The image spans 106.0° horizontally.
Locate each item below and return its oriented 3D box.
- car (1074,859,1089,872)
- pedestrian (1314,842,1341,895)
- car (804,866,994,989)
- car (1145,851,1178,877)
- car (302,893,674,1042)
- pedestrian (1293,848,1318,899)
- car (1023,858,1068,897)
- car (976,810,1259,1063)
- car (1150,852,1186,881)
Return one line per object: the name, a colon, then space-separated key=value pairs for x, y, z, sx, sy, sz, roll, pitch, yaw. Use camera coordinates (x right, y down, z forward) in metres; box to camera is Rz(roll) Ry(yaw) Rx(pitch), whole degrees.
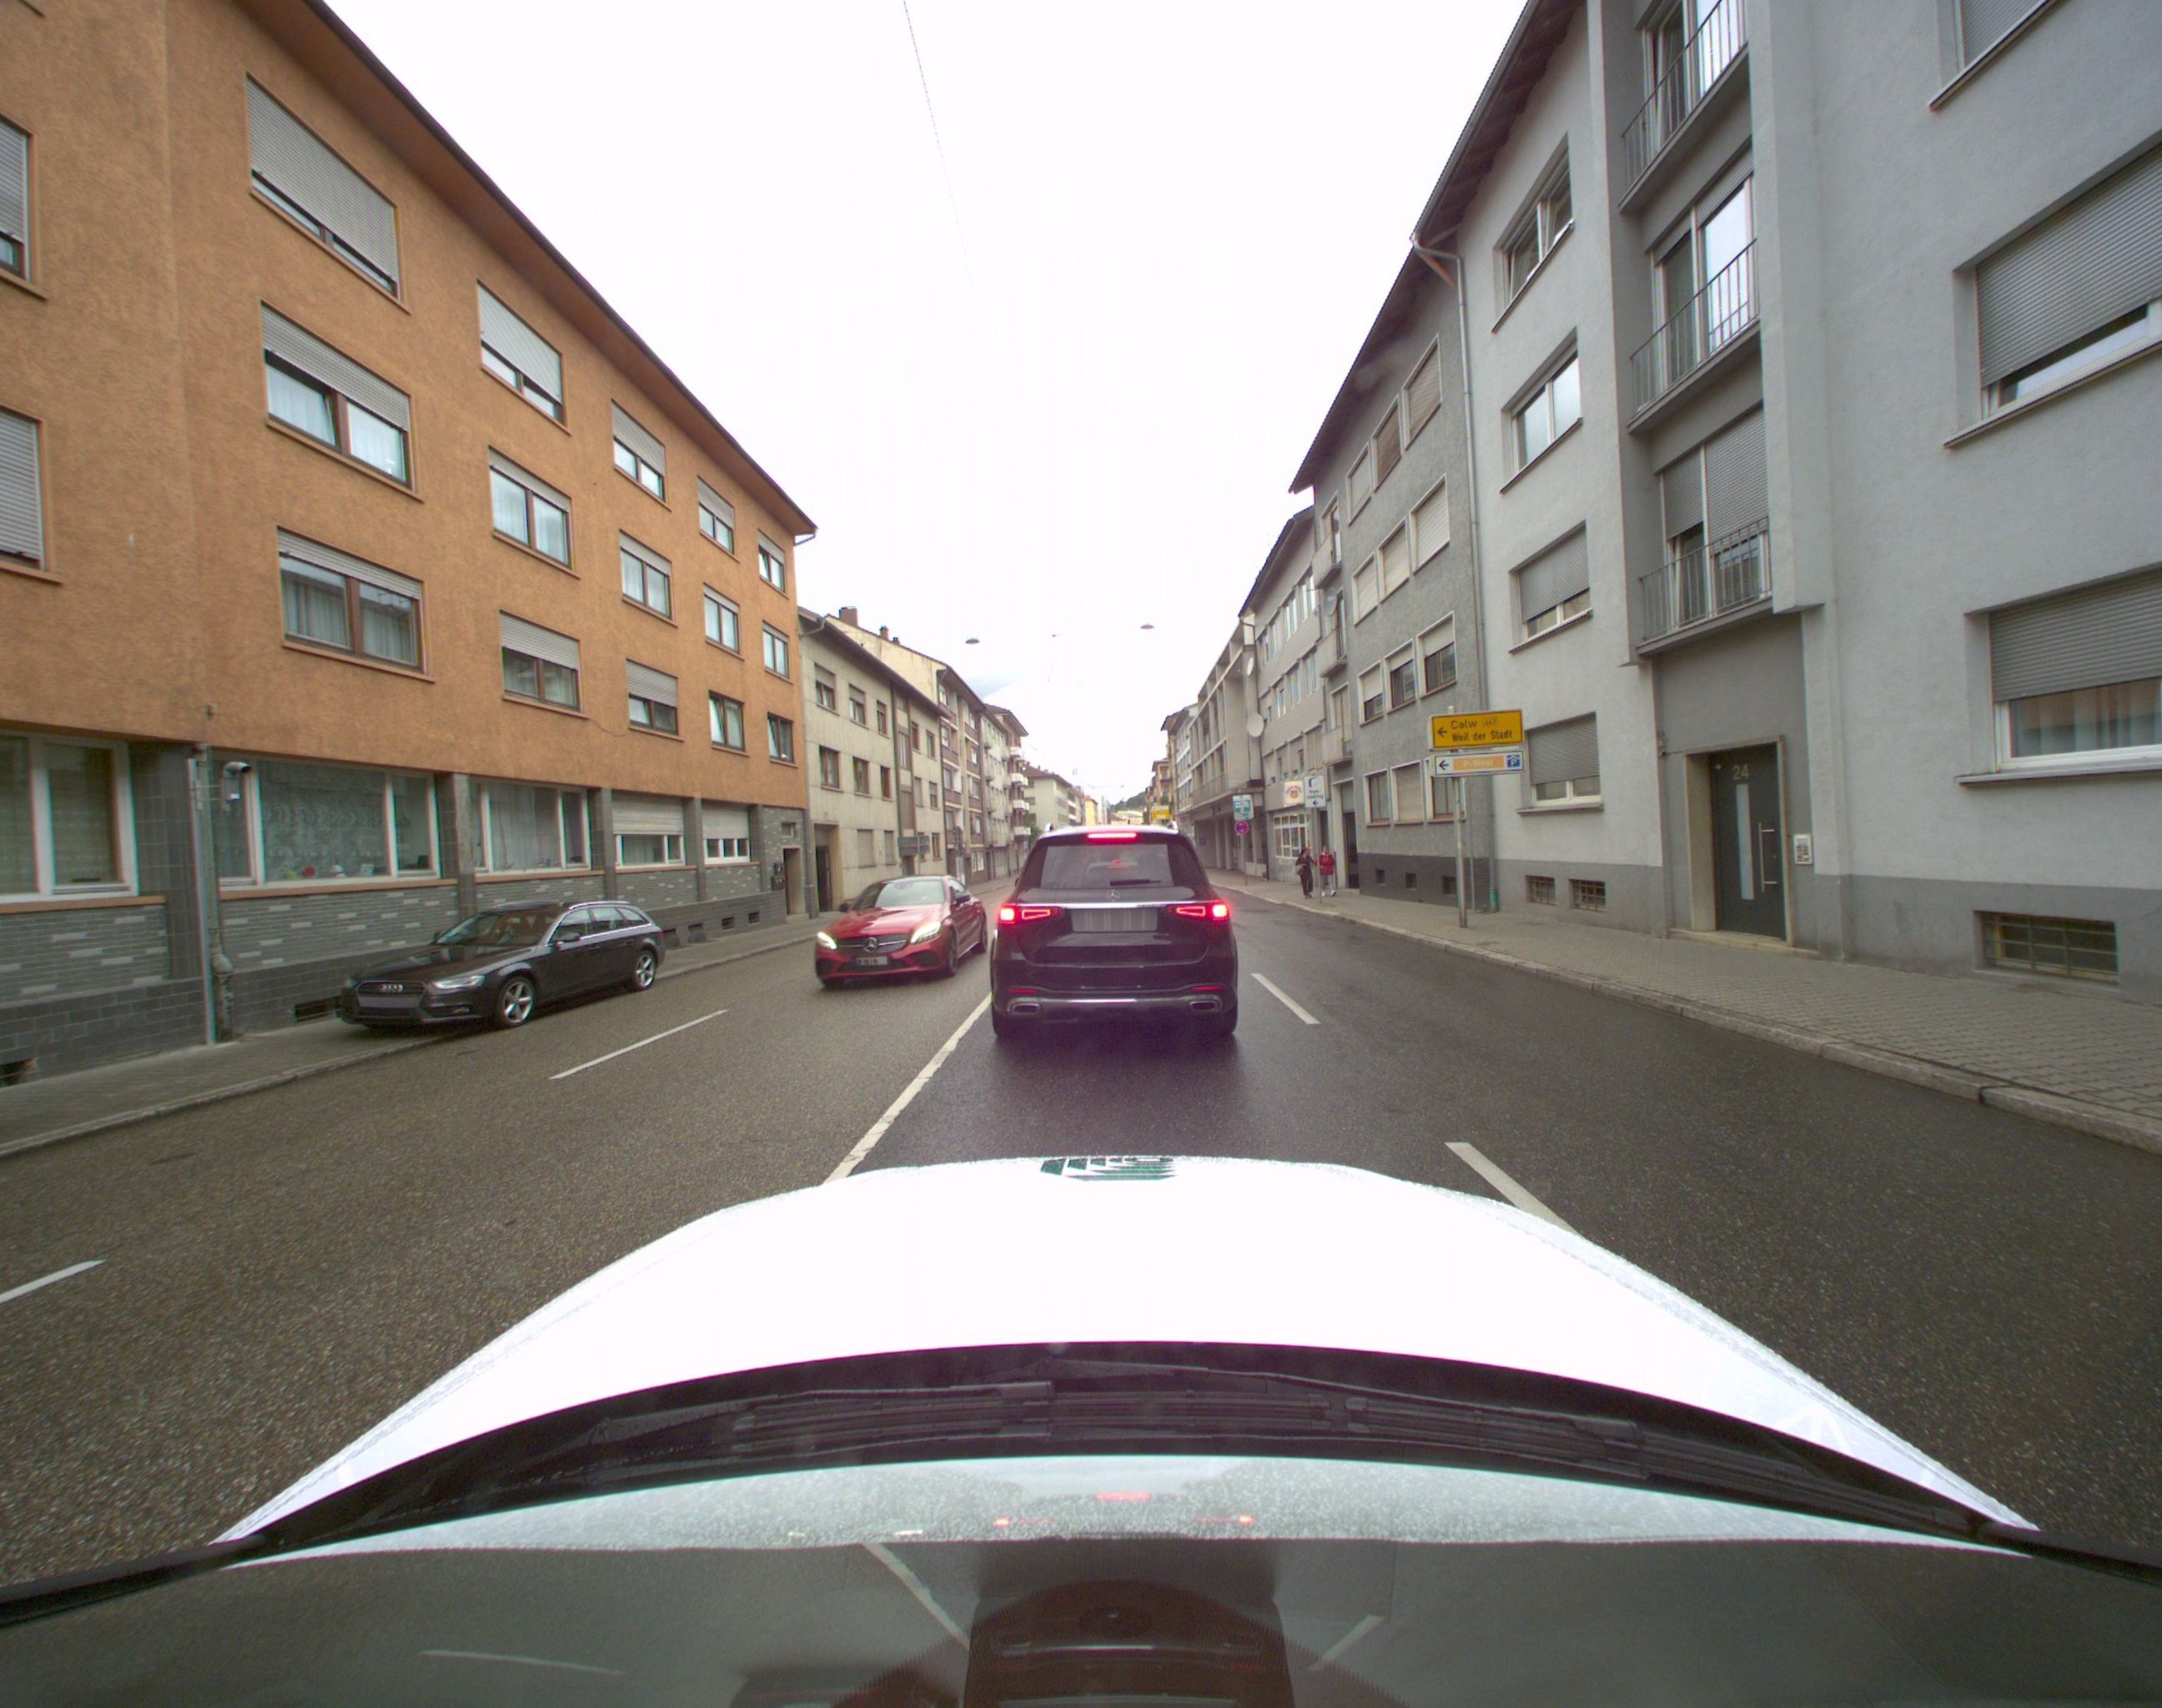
car: x=0.099 y=1.460 z=102.869 sx=1.642 sy=1.439 sz=4.127 roll=-4 pitch=0 yaw=2
pedestrian: x=7.629 y=0.456 z=25.240 sx=0.558 sy=1.578 sz=0.526 roll=-5 pitch=0 yaw=1
car: x=-2.536 y=0.963 z=12.489 sx=1.718 sy=1.390 sz=4.341 roll=-4 pitch=0 yaw=2
car: x=5.813 y=0.715 z=59.257 sx=1.933 sy=1.775 sz=4.746 roll=-1 pitch=0 yaw=1
car: x=-7.741 y=1.374 z=11.340 sx=1.789 sy=1.438 sz=4.528 roll=0 pitch=0 yaw=1
pedestrian: x=6.933 y=0.593 z=25.196 sx=0.504 sy=1.500 sz=0.562 roll=-5 pitch=0 yaw=1
car: x=-1.616 y=1.050 z=38.449 sx=1.727 sy=1.575 sz=4.012 roll=-6 pitch=0 yaw=1
car: x=0.308 y=0.597 z=7.846 sx=2.018 sy=1.806 sz=4.001 roll=0 pitch=0 yaw=1
car: x=5.077 y=0.698 z=48.106 sx=1.760 sy=1.580 sz=4.002 roll=-2 pitch=0 yaw=2
